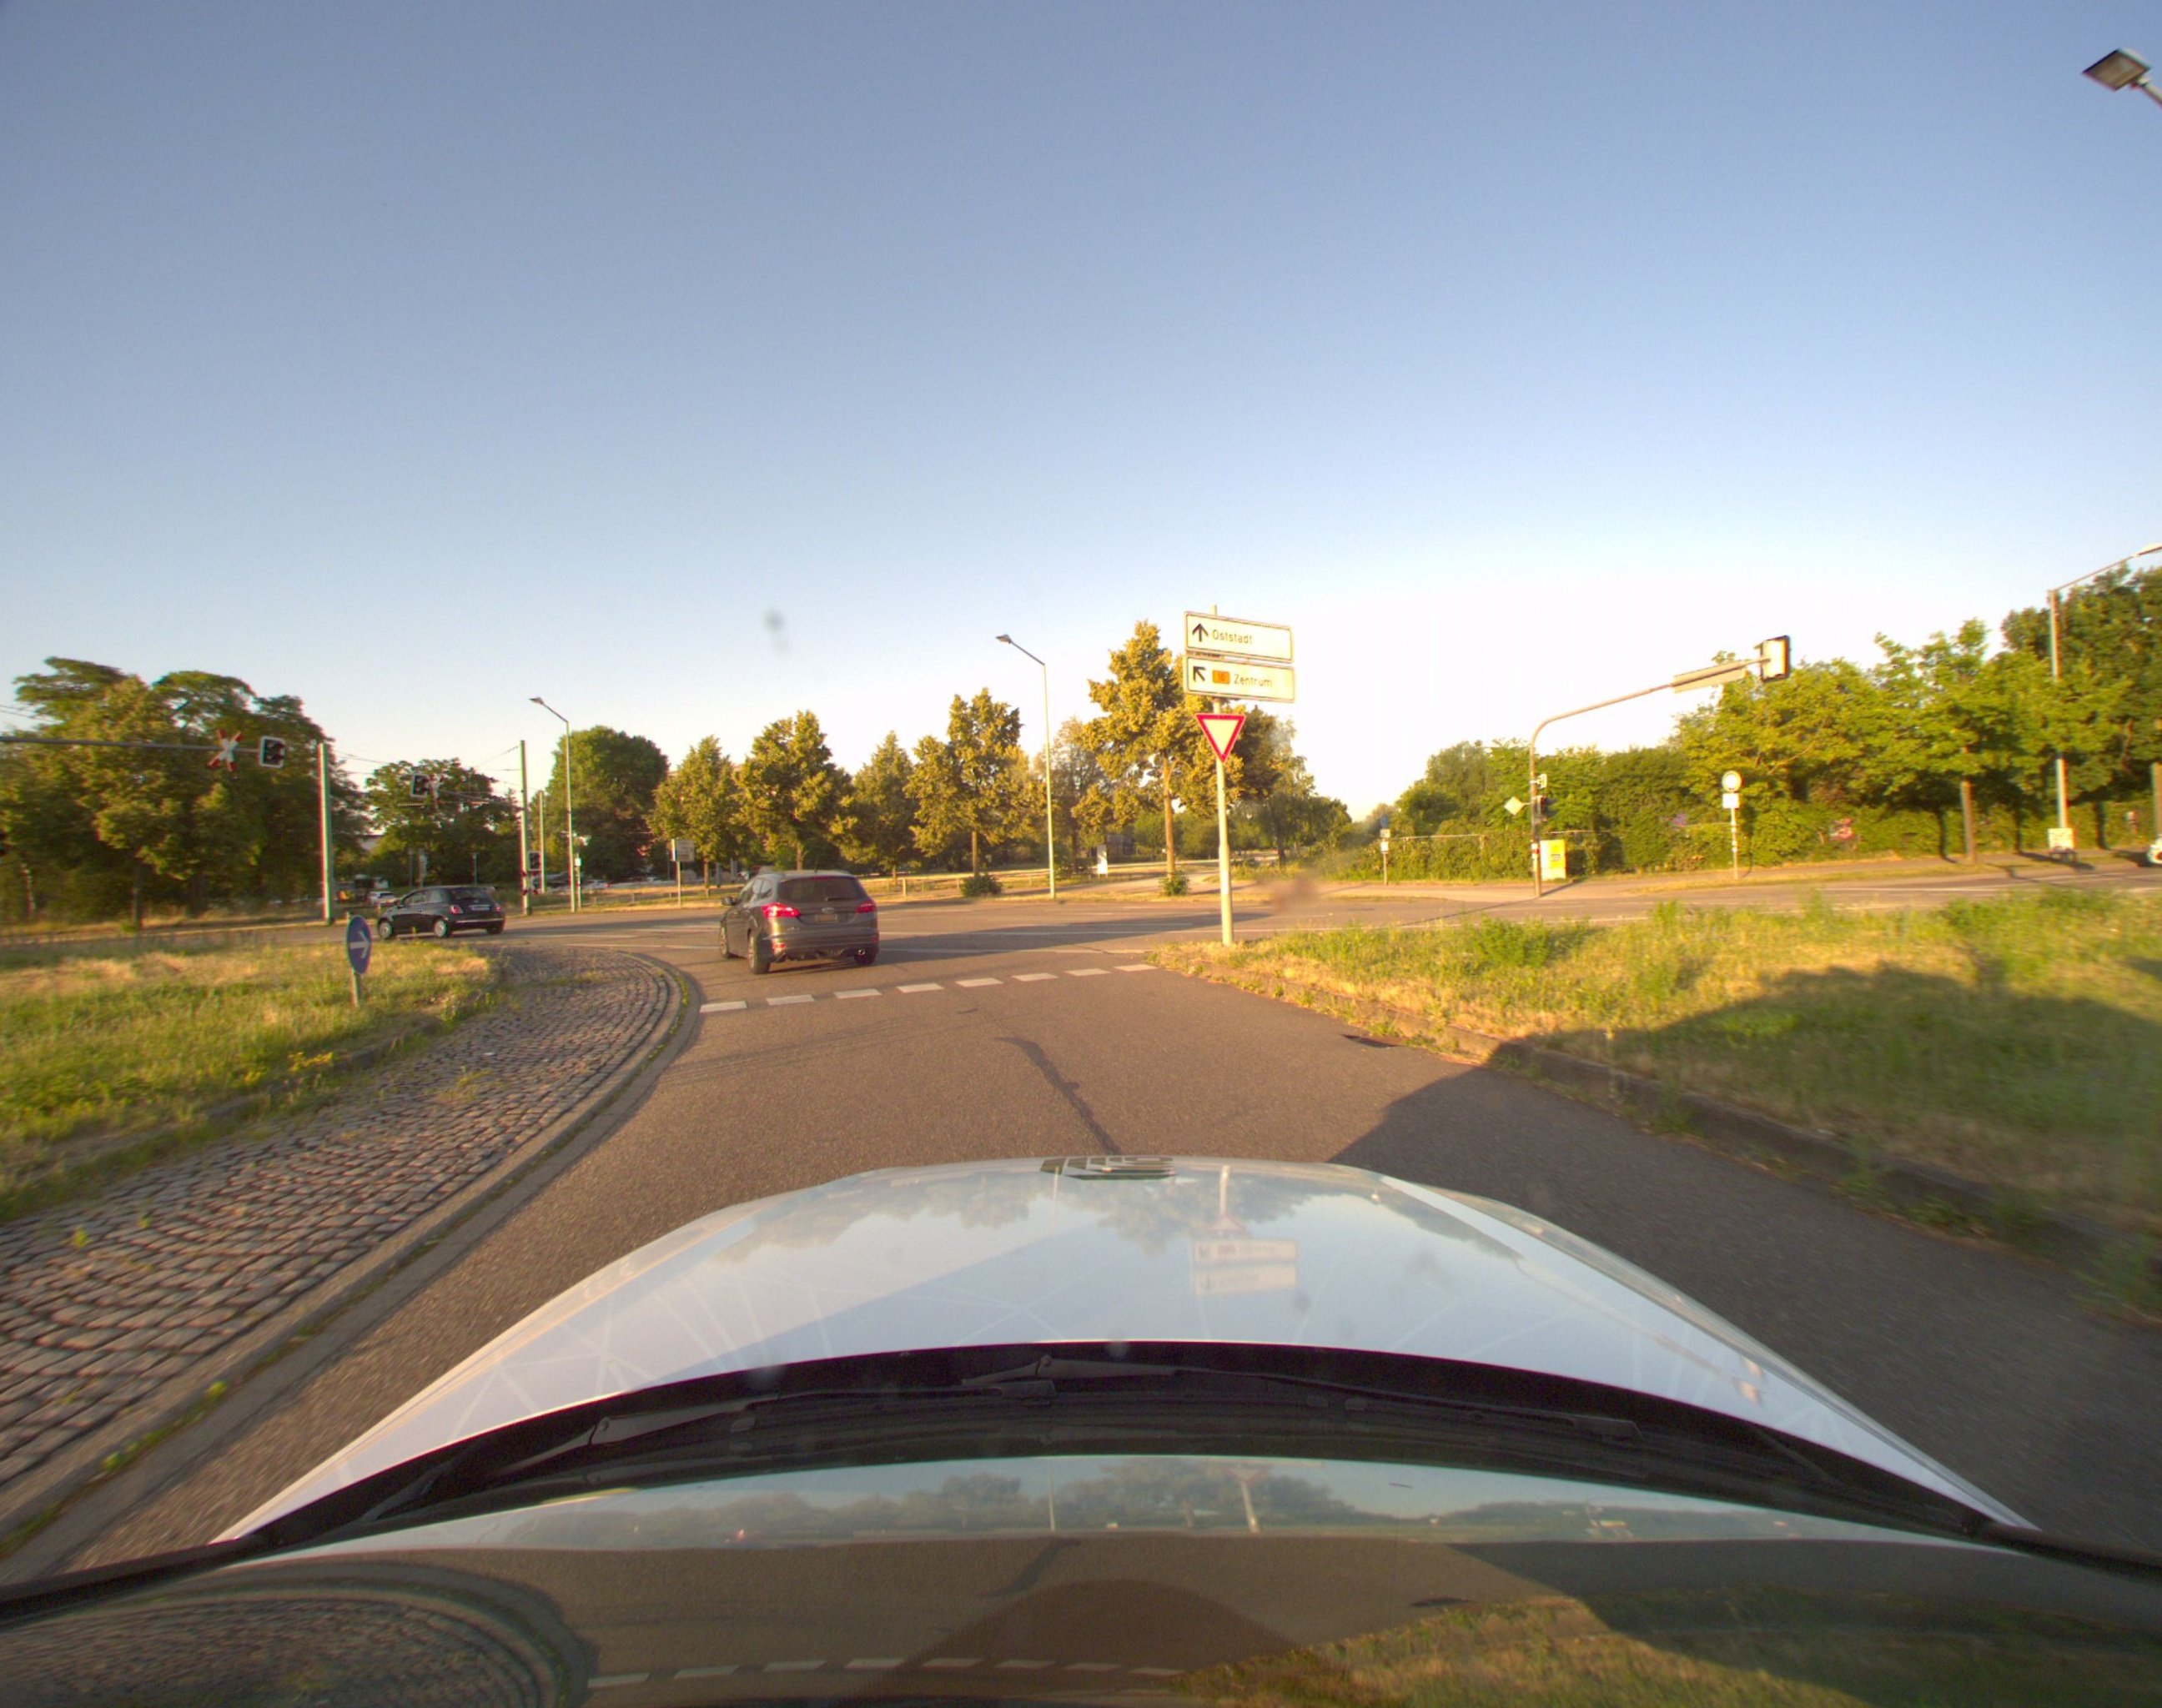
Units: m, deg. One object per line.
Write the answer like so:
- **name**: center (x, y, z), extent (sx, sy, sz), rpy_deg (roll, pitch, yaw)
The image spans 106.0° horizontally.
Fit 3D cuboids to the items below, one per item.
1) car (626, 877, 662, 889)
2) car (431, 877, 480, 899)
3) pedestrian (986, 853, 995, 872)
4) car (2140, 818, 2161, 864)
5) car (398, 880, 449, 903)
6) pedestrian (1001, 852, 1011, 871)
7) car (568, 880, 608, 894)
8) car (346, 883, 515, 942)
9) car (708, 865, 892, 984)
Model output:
- **car**: center (-59.802, 3.959, 111.404), extent (3.959, 1.551, 2.007), rpy_deg (-2, 0, 13)
- **car**: center (-66.691, 3.660, 86.830), extent (3.958, 2.098, 2.008), rpy_deg (-2, 0, 14)
- **pedestrian**: center (-8.035, 0.740, 72.318), extent (0.583, 1.626, 0.527), rpy_deg (-2, 0, -36)
- **car**: center (35.458, -0.480, 25.443), extent (3.478, 1.443, 1.547), rpy_deg (-2, -1, -13)
- **car**: center (-67.576, 3.824, 83.706), extent (3.958, 2.098, 2.008), rpy_deg (-2, 0, 14)
- **pedestrian**: center (-6.601, 0.696, 72.065), extent (0.623, 1.626, 0.524), rpy_deg (-2, 0, -37)
- **car**: center (-61.969, 4.094, 102.435), extent (3.959, 1.551, 2.007), rpy_deg (-2, 0, 13)
- **car**: center (-18.909, 1.691, 23.699), extent (4.089, 1.446, 1.760), rpy_deg (-3, 0, 17)
- **car**: center (-4.591, 0.974, 12.885), extent (1.758, 1.466, 4.091), rpy_deg (-3, 1, -33)
